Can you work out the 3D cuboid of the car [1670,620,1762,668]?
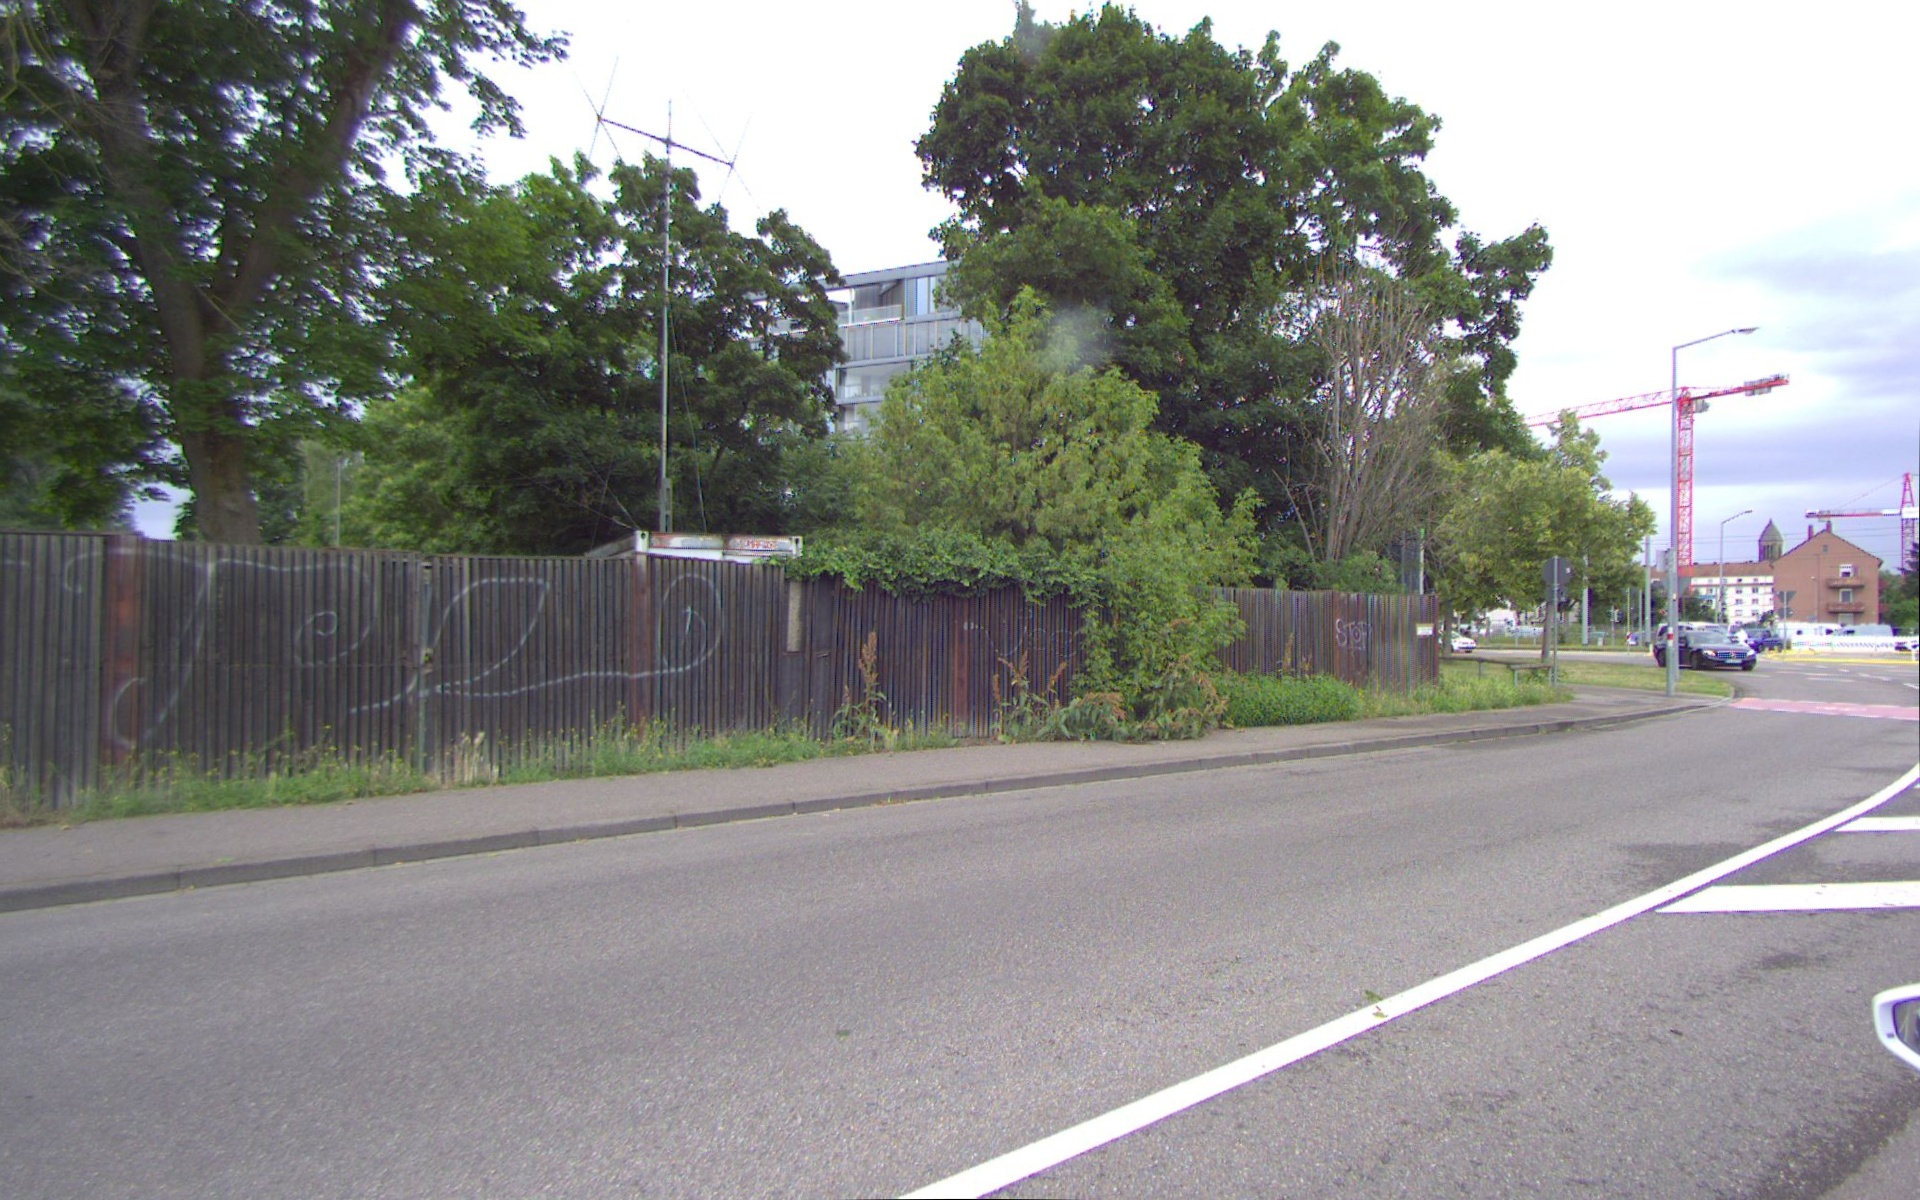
[{"bbox_3d":[28.558,1.636,38.076,1.962,1.706,3.997,0,-1,24],"label":"car"}]

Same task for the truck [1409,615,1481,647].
[{"bbox_3d":[31.232,1.986,64.765,1.969,2.040,3.983,1,-1,-20],"label":"truck"}]

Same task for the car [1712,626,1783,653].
[{"bbox_3d":[45.664,2.257,58.225,3.953,1.509,1.922,1,-1,-30],"label":"car"}]

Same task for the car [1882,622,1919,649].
[{"bbox_3d":[58.989,2.151,60.694,4.580,1.656,2.001,0,-1,5],"label":"car"}]

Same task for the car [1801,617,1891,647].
[{"bbox_3d":[62.015,2.198,70.442,4.399,2.040,1.996,0,-1,30],"label":"car"}]

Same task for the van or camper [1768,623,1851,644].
[{"bbox_3d":[83.956,3.301,99.384,1.969,2.040,6.171,1,-1,-19],"label":"van or camper"}]

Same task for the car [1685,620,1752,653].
[{"bbox_3d":[41.451,1.967,54.886,4.152,1.706,1.916,1,-1,-38],"label":"car"}]
